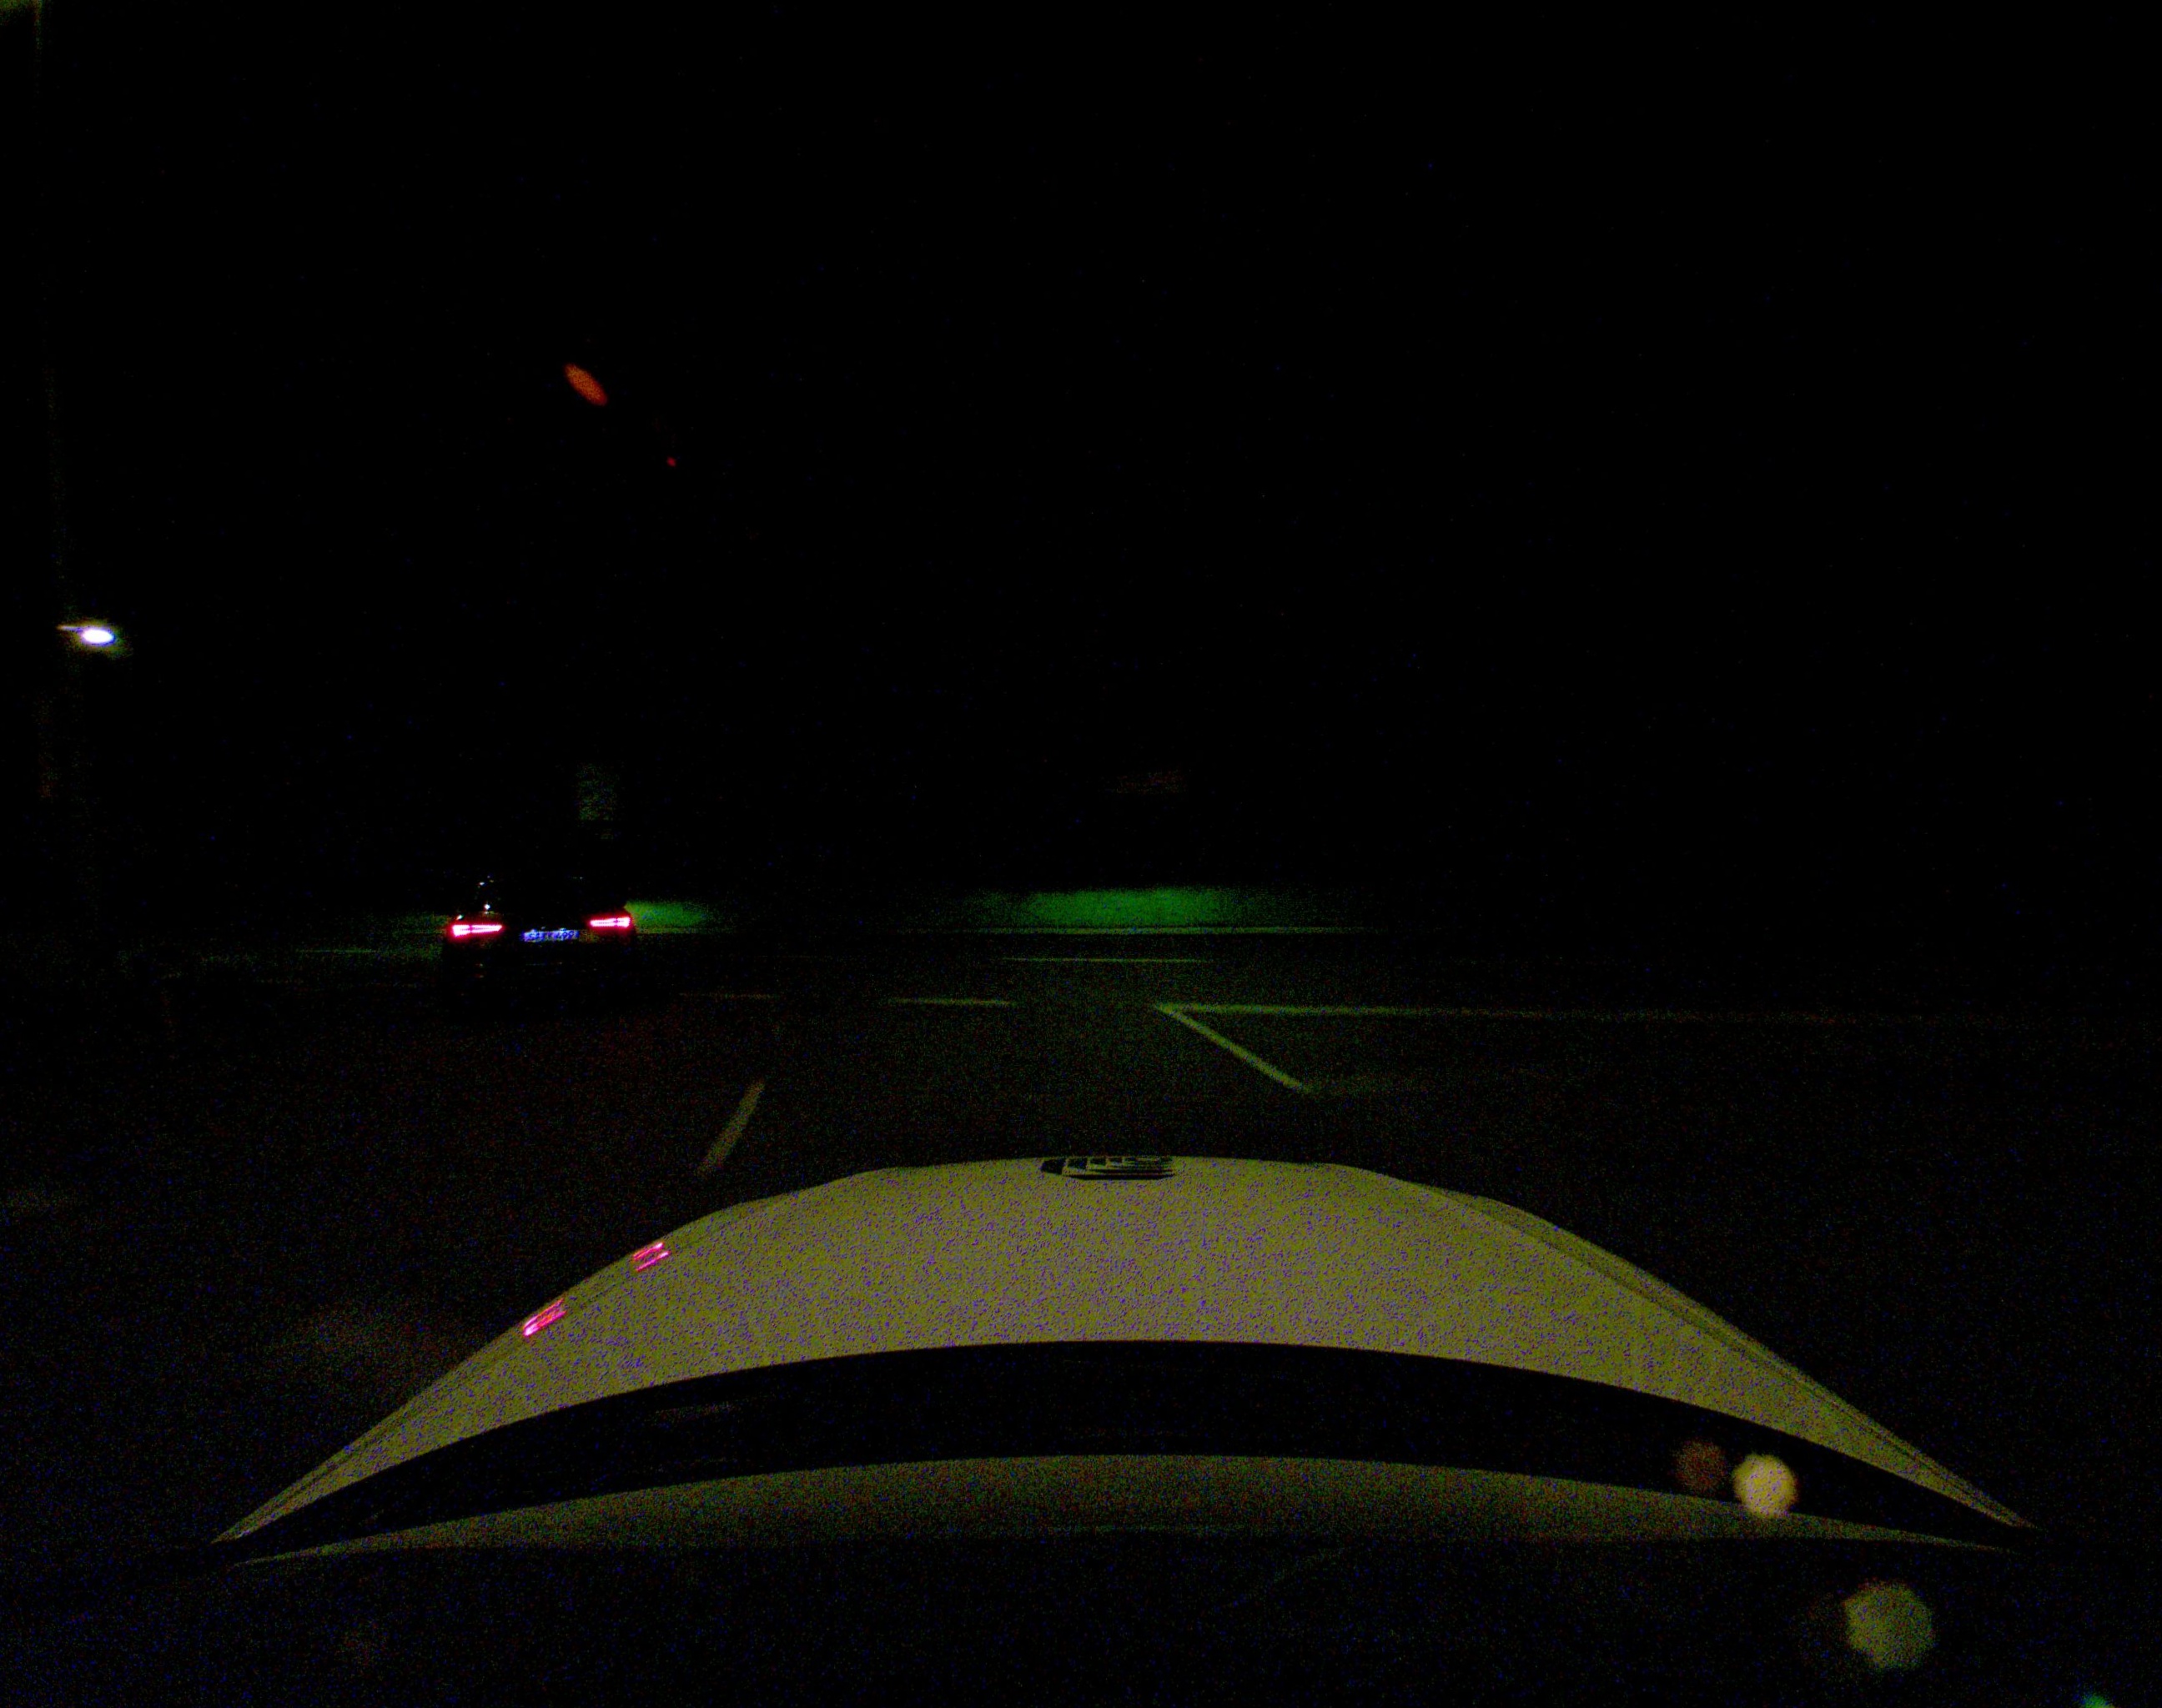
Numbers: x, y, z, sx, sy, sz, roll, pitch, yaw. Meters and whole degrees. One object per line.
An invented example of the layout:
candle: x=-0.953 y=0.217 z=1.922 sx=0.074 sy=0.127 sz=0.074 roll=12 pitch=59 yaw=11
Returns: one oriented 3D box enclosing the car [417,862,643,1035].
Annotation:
car: x=-6.658 y=0.953 z=9.939 sx=1.866 sy=1.582 sz=3.964 roll=-2 pitch=0 yaw=-34
